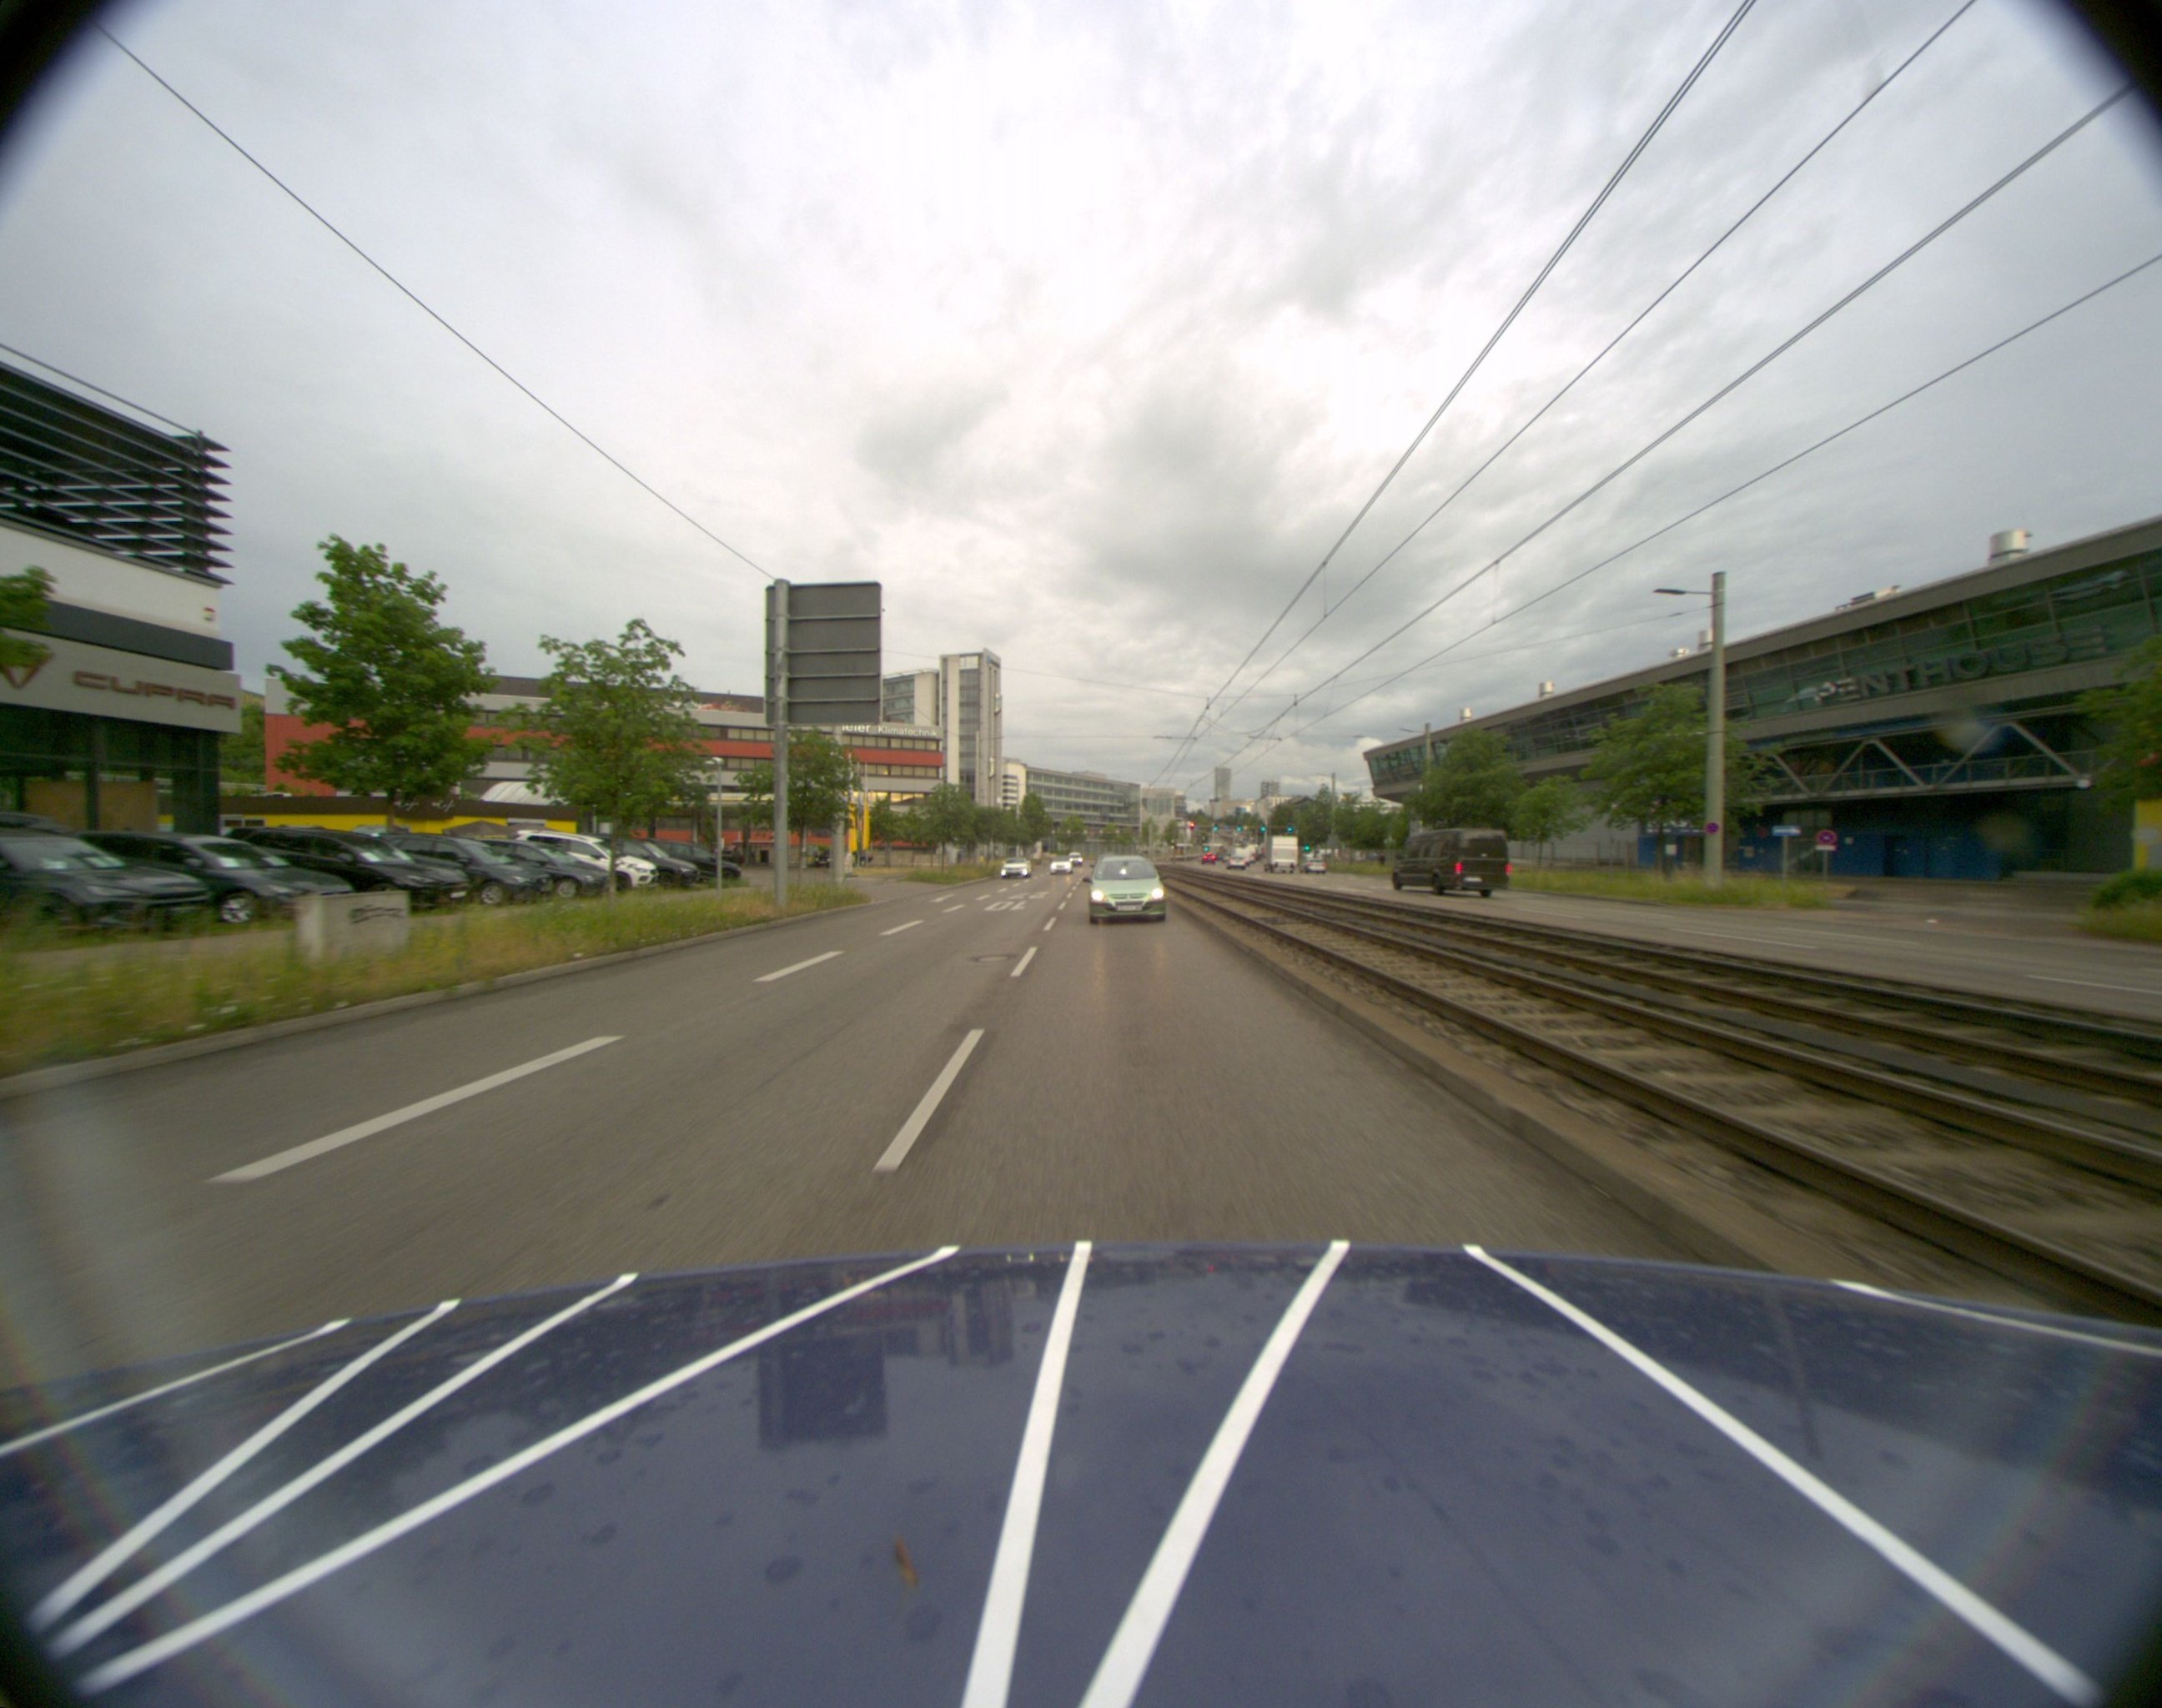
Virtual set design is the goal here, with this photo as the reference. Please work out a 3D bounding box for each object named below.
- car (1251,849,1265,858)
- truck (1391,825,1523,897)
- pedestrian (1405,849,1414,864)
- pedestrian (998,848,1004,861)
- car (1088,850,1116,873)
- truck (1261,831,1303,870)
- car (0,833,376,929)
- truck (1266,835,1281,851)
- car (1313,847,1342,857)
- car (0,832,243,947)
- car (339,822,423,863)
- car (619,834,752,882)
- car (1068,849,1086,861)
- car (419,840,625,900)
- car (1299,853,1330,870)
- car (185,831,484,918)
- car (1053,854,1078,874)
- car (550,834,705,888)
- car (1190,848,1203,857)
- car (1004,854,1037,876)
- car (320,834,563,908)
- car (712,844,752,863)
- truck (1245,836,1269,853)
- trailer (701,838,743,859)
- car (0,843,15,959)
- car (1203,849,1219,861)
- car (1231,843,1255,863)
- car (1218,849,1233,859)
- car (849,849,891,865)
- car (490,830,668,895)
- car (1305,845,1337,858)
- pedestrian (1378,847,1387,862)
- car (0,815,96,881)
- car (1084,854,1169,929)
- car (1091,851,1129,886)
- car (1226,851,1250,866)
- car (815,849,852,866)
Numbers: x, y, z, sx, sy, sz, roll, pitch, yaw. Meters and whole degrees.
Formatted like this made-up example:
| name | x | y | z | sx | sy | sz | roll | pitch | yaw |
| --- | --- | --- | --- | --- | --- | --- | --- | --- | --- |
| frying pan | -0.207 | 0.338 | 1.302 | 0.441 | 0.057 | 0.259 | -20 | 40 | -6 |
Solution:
| name | x | y | z | sx | sy | sz | roll | pitch | yaw |
| --- | --- | --- | --- | --- | --- | --- | --- | --- | --- |
| car | 27.786 | -0.150 | 119.305 | 1.751 | 1.392 | 4.002 | 1 | 1 | 8 |
| truck | 14.900 | 0.216 | 30.746 | 2.243 | 2.550 | 7.015 | 1 | 1 | 4 |
| pedestrian | 34.823 | 0.257 | 80.564 | 0.549 | 1.489 | 0.758 | -3 | 1 | 5 |
| pedestrian | -12.240 | 0.032 | 115.982 | 0.683 | 1.890 | 0.677 | -3 | 1 | -22 |
| car | 1.482 | 0.509 | 54.389 | 1.762 | 1.535 | 3.713 | -3 | 1 | -1 |
| truck | 18.409 | -0.322 | 70.107 | 2.732 | 3.338 | 7.156 | 2 | 0 | 7 |
| car | -16.423 | 0.485 | 14.221 | 4.500 | 1.610 | 1.820 | 1 | 1 | -7 |
| truck | 56.995 | -3.232 | 224.986 | 3.261 | 4.503 | 7.103 | 0 | 0 | 22 |
| car | 42.028 | -0.284 | 129.754 | 4.253 | 1.706 | 1.912 | 0 | 1 | -6 |
| car | -16.505 | 0.496 | 11.814 | 4.501 | 1.653 | 1.819 | 1 | 1 | -10 |
| car | -30.496 | -0.456 | 33.233 | 1.848 | 1.634 | 4.305 | 0 | 0 | -31 |
| car | -16.120 | 0.194 | 31.136 | 1.873 | 1.805 | 4.401 | 2 | 0 | 41 |
| car | -0.524 | 0.182 | 103.380 | 1.889 | 1.584 | 3.983 | -1 | 0 | 7 |
| car | -16.242 | 0.464 | 22.317 | 4.502 | 1.628 | 1.819 | 1 | 1 | -13 |
| car | 21.757 | 0.701 | 71.022 | 1.901 | 1.480 | 4.424 | 1 | 0 | 5 |
| car | -16.426 | 0.448 | 16.983 | 4.501 | 1.785 | 1.819 | 1 | 1 | -11 |
| car | -1.217 | 0.799 | 62.603 | 1.818 | 1.584 | 3.836 | 0 | 1 | 2 |
| car | -16.155 | 0.252 | 27.314 | 4.392 | 1.779 | 1.876 | 1 | 1 | -12 |
| car | 21.887 | -0.309 | 143.802 | 1.998 | 1.721 | 4.679 | 1 | 0 | 3 |
| car | -4.332 | 0.792 | 54.586 | 1.878 | 1.485 | 3.837 | -1 | 0 | 3 |
| car | -16.411 | 0.428 | 19.750 | 4.501 | 1.742 | 1.819 | 1 | 1 | -11 |
| car | -33.372 | -0.060 | 72.738 | 1.903 | 1.640 | 3.999 | 4 | 1 | 0 |
| truck | 40.725 | -2.198 | 175.390 | 4.083 | 3.734 | 10.869 | 0 | 0 | 20 |
| trailer | -38.251 | -0.565 | 80.994 | 4.005 | 2.134 | 1.835 | 0 | 1 | -25 |
| car | -16.642 | 0.594 | 9.102 | 4.501 | 1.560 | 1.819 | 1 | 1 | -10 |
| car | 19.155 | 0.146 | 111.750 | 1.913 | 1.647 | 4.362 | 2 | 0 | 5 |
| car | 21.842 | -0.163 | 102.622 | 2.437 | 2.486 | 6.550 | 1 | 0 | 6 |
| car | 23.985 | 0.000 | 126.046 | 1.944 | 1.661 | 4.510 | 1 | 0 | 5 |
| car | -23.404 | 0.337 | 84.335 | 4.363 | 1.637 | 1.791 | -3 | 1 | -19 |
| car | -16.222 | 0.272 | 24.814 | 4.503 | 1.980 | 1.818 | 1 | 1 | -16 |
| car | 42.412 | -0.489 | 134.176 | 5.064 | 2.318 | 1.998 | 0 | 1 | -10 |
| pedestrian | 32.385 | 0.078 | 81.542 | 0.684 | 1.554 | 0.627 | -3 | 1 | 2 |
| car | -24.947 | -0.128 | 16.590 | 1.784 | 1.464 | 3.899 | 0 | 0 | 1 |
| car | 1.042 | 0.817 | 18.398 | 1.762 | 1.489 | 4.137 | -3 | 1 | 2 |
| car | 1.478 | 0.687 | 37.714 | 1.761 | 1.535 | 3.714 | -3 | 1 | 3 |
| car | 16.407 | 0.423 | 79.669 | 1.809 | 1.490 | 4.442 | 2 | 0 | 3 |
| car | -20.855 | 0.281 | 64.168 | 1.784 | 1.411 | 3.782 | 1 | 0 | 1 |
